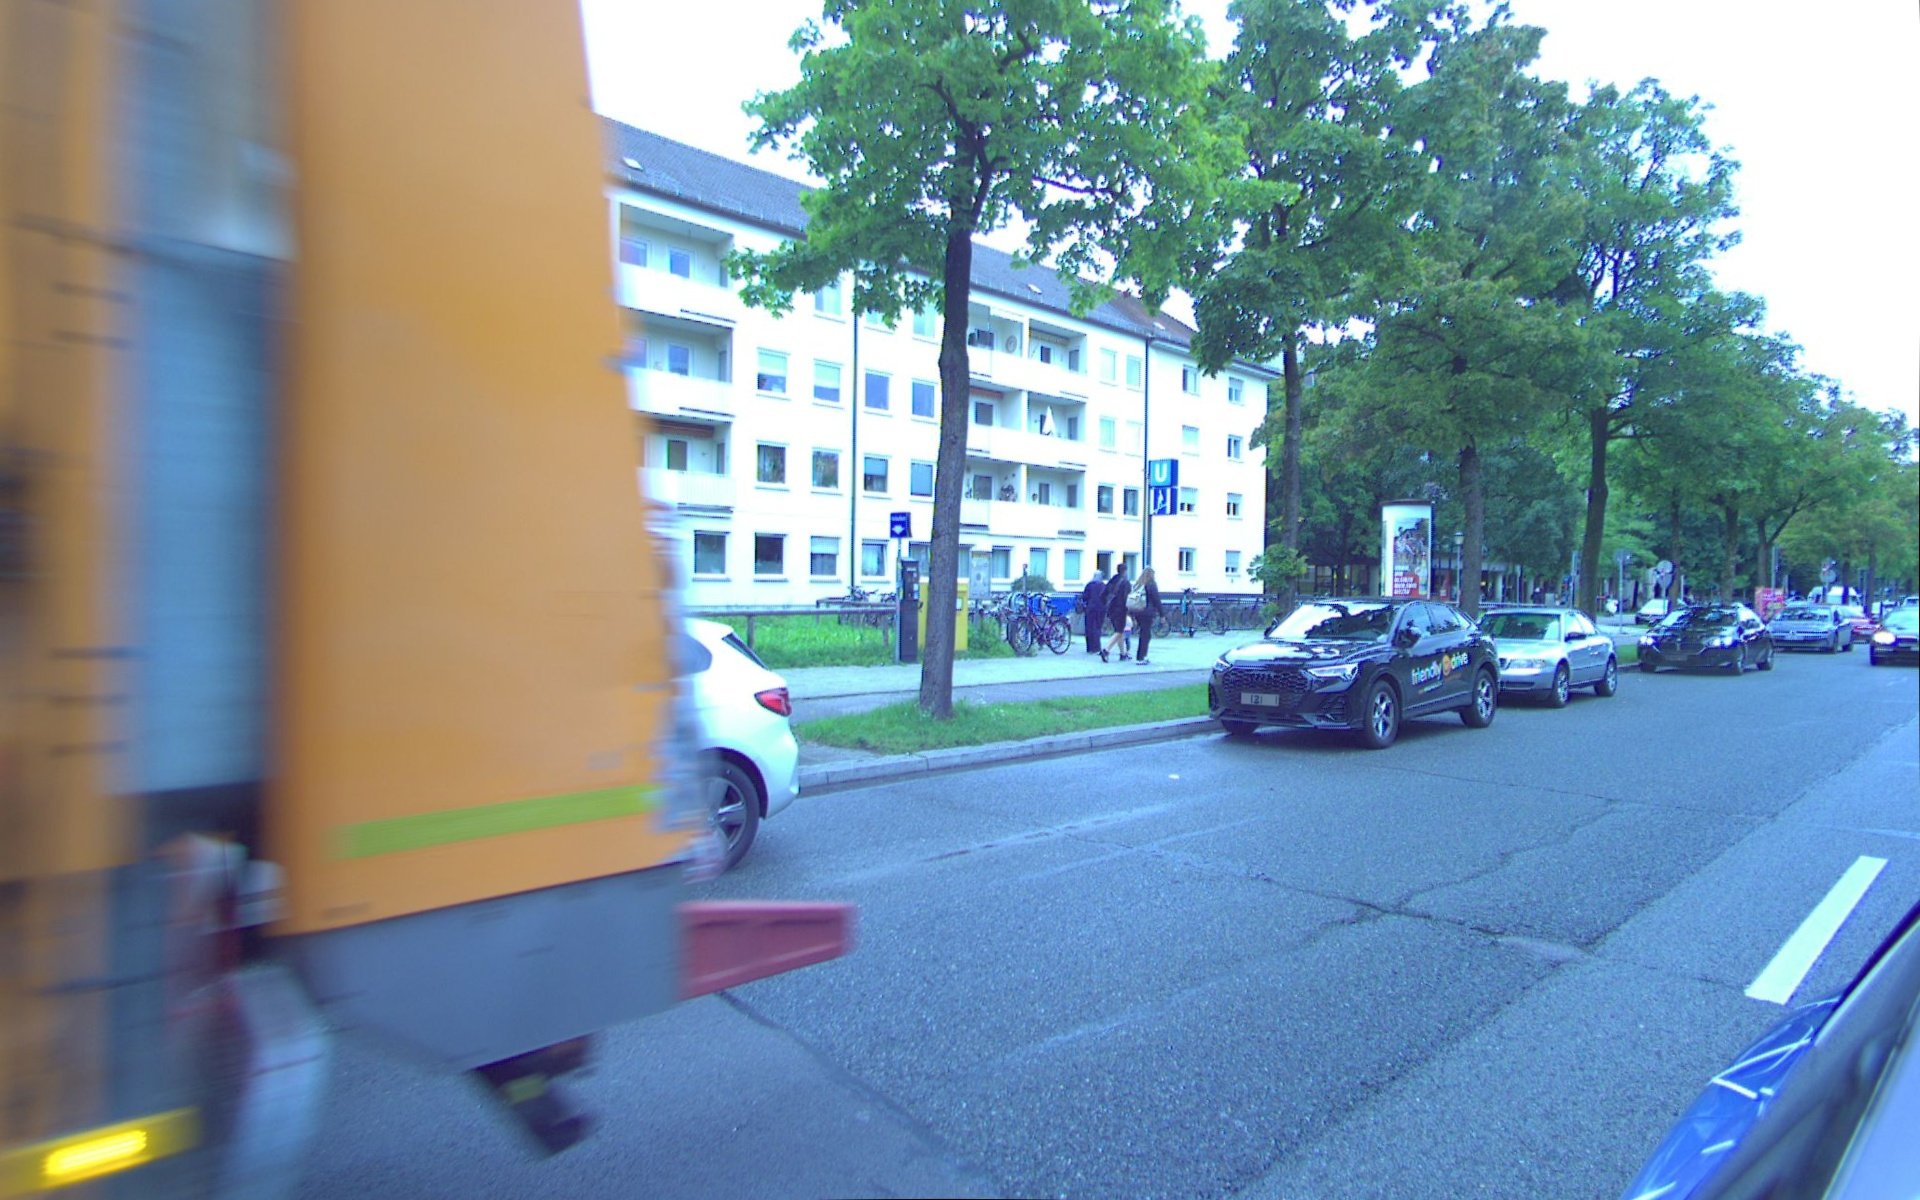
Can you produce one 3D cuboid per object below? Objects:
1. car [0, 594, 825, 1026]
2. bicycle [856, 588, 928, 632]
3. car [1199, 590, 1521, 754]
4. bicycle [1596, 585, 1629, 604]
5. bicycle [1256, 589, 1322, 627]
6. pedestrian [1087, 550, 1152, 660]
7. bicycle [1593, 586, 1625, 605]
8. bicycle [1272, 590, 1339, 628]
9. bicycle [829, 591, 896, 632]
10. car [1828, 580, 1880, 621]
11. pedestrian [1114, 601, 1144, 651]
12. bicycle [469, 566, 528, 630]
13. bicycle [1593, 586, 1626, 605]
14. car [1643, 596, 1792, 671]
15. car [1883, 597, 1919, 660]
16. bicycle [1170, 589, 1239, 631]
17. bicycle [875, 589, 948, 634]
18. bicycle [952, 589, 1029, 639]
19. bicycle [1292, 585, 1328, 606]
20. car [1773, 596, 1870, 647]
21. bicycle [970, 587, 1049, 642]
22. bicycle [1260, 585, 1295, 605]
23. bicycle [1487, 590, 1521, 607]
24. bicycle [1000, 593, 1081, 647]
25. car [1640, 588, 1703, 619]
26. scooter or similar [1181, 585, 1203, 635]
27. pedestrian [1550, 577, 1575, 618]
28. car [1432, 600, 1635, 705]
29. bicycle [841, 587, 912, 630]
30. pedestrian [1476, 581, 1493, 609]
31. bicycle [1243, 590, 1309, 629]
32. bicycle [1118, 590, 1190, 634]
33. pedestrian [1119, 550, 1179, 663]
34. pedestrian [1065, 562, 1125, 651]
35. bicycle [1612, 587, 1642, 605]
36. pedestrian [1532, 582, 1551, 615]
[{"bbox_3d":[-2.838,0.739,5.065,4.066,1.484,1.684,0,-1,-42],"label":"car"},{"bbox_3d":[-1.652,0.233,24.728,1.850,1.041,0.432,0,1,-41],"label":"bicycle"},{"bbox_3d":[4.698,0.683,11.598,4.201,1.552,1.719,0,0,-41],"label":"car"},{"bbox_3d":[58.094,-0.459,90.132,0.638,1.643,2.312,0,1,-41],"label":"bicycle"},{"bbox_3d":[9.871,0.228,30.419,1.878,1.041,0.426,3,2,44],"label":"bicycle"},{"bbox_3d":[2.867,0.072,18.196,0.904,1.913,0.730,0,2,-42],"label":"pedestrian"},{"bbox_3d":[57.415,-0.404,89.562,0.638,1.643,2.312,0,1,-41],"label":"bicycle"},{"bbox_3d":[10.431,0.262,30.609,1.876,1.041,0.426,3,2,42],"label":"bicycle"},{"bbox_3d":[-2.556,0.297,26.709,1.850,1.041,0.432,0,1,-41],"label":"bicycle"},{"bbox_3d":[60.921,0.052,68.904,5.902,2.691,1.976,0,-1,-42],"label":"car"},{"bbox_3d":[3.326,0.515,19.945,0.400,0.961,0.436,1,1,-20],"label":"pedestrian"},{"bbox_3d":[-7.587,-0.038,16.594,0.425,0.986,1.881,0,0,-39],"label":"bicycle"},{"bbox_3d":[56.897,-0.396,88.666,0.638,1.551,2.312,0,1,-41],"label":"bicycle"},{"bbox_3d":[16.626,0.671,22.161,4.102,1.484,1.754,0,0,-40],"label":"car"},{"bbox_3d":[24.345,0.670,24.968,4.586,1.461,1.798,0,-1,-41],"label":"car"},{"bbox_3d":[6.602,0.265,27.411,0.425,1.041,1.879,0,2,-43],"label":"bicycle"},{"bbox_3d":[-1.142,0.265,24.219,1.850,1.041,0.432,0,1,-41],"label":"bicycle"},{"bbox_3d":[0.681,0.297,22.112,1.850,1.041,0.432,0,1,-41],"label":"bicycle"},{"bbox_3d":[17.813,-0.228,51.503,0.448,0.983,1.692,1,1,-44],"label":"bicycle"},{"bbox_3d":[26.743,0.628,31.383,4.042,1.484,1.685,0,0,-40],"label":"car"},{"bbox_3d":[1.066,0.301,21.515,1.850,1.115,0.432,0,1,-41],"label":"bicycle"},{"bbox_3d":[16.551,-0.245,52.765,0.448,0.983,1.692,1,1,-44],"label":"bicycle"},{"bbox_3d":[39.350,-0.121,73.222,0.447,1.134,2.079,1,1,-41],"label":"bicycle"},{"bbox_3d":[1.643,0.392,20.436,1.850,1.041,0.432,0,1,-41],"label":"bicycle"},{"bbox_3d":[39.823,0.187,56.609,4.122,1.654,1.826,0,2,-39],"label":"car"},{"bbox_3d":[5.918,0.248,25.813,0.352,1.215,1.388,1,2,6],"label":"scooter or similar"},{"bbox_3d":[26.670,-0.111,44.798,0.835,1.771,0.640,1,2,-43],"label":"pedestrian"},{"bbox_3d":[8.937,0.710,15.620,4.174,1.403,1.637,0,0,-44],"label":"car"},{"bbox_3d":[-2.093,0.210,25.577,1.850,1.041,0.432,0,1,-41],"label":"bicycle"},{"bbox_3d":[30.270,-0.314,58.396,0.569,1.594,0.782,0,0,-3],"label":"pedestrian"},{"bbox_3d":[9.292,0.265,29.789,0.425,1.041,1.879,0,2,-43],"label":"bicycle"},{"bbox_3d":[4.912,0.284,25.740,0.425,1.041,1.879,0,2,-43],"label":"bicycle"},{"bbox_3d":[3.308,0.096,17.682,0.886,1.913,0.589,0,1,-42],"label":"pedestrian"},{"bbox_3d":[2.634,0.110,19.752,0.823,1.702,0.837,0,1,-22],"label":"pedestrian"},{"bbox_3d":[61.545,-0.392,93.415,2.298,1.643,0.642,1,1,33],"label":"bicycle"},{"bbox_3d":[31.051,-0.074,54.050,0.628,1.752,0.602,0,0,-21],"label":"pedestrian"}]
